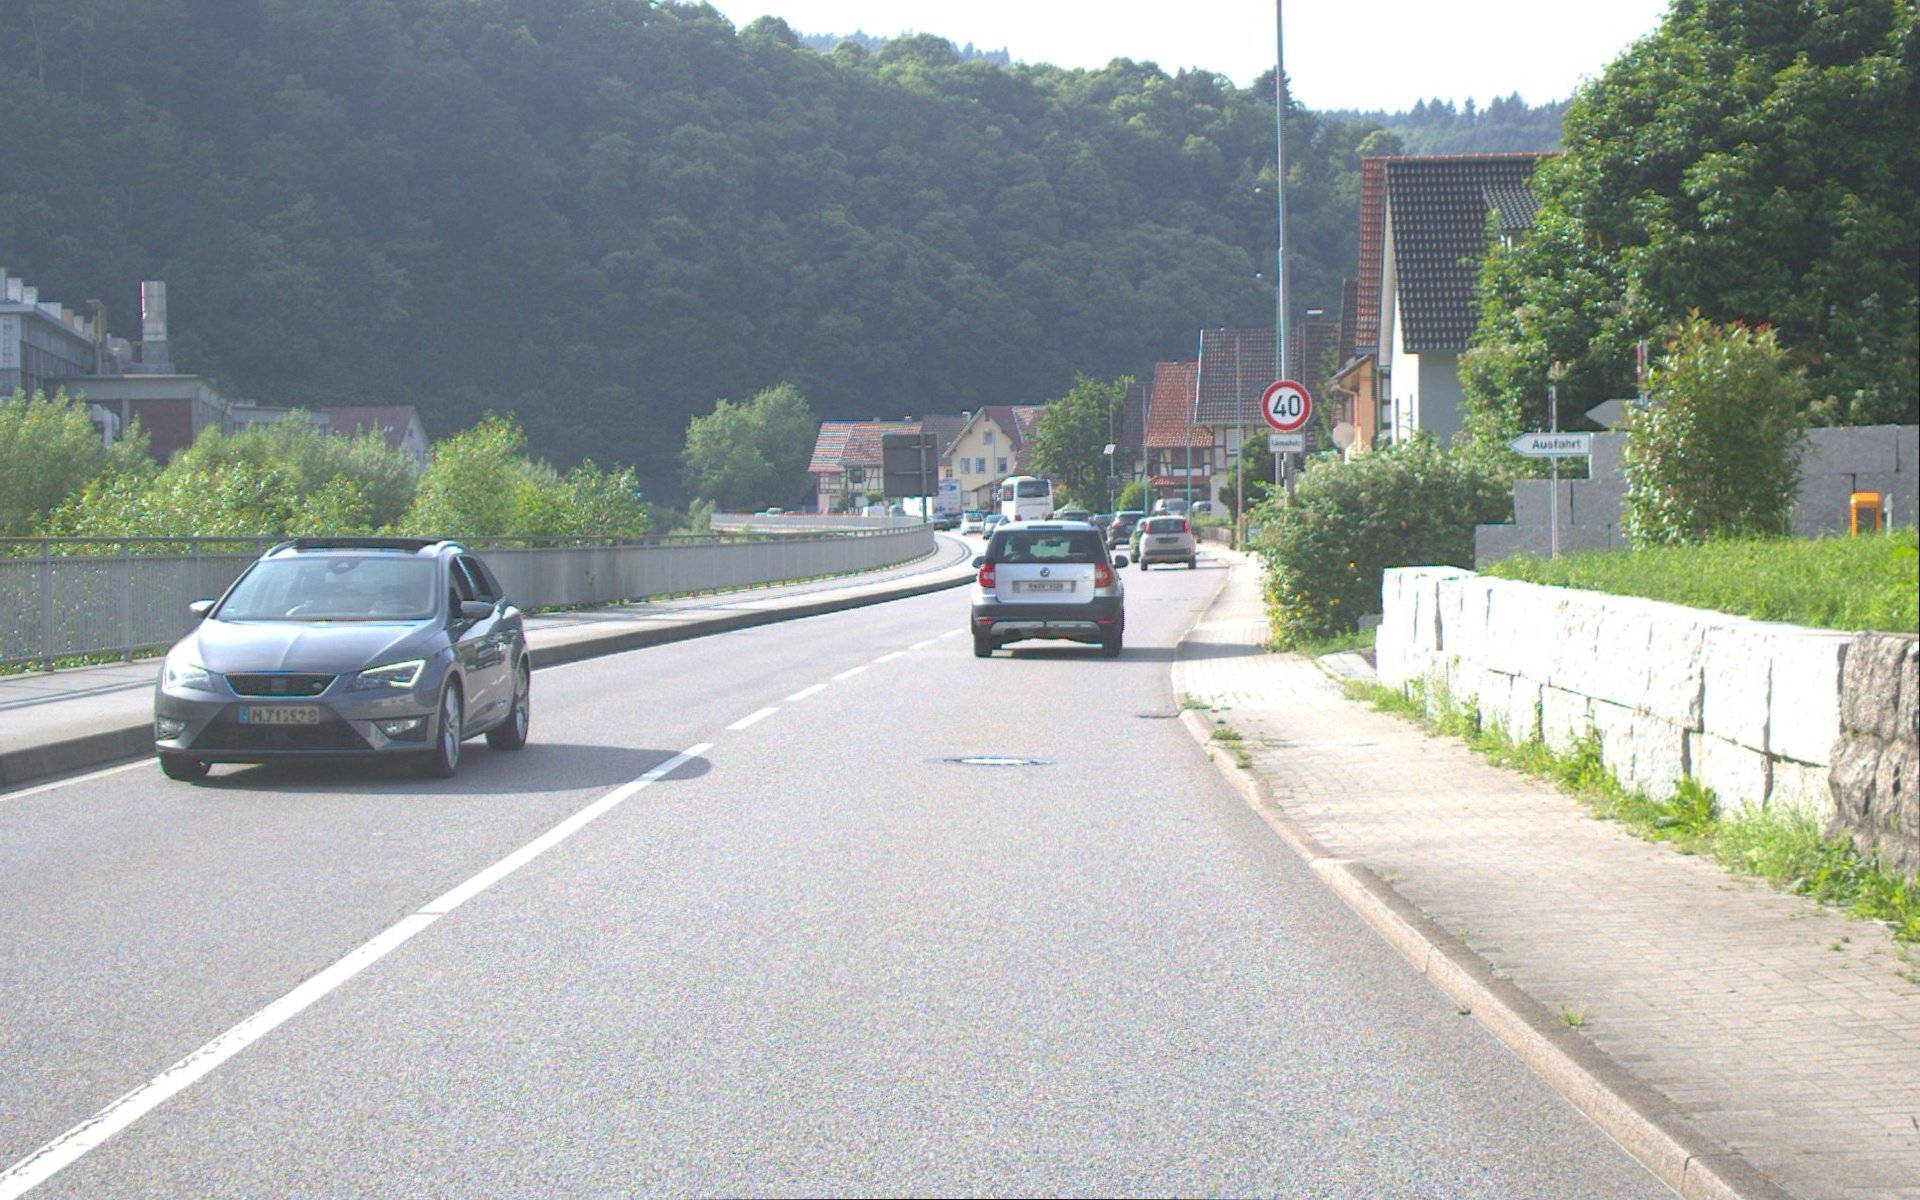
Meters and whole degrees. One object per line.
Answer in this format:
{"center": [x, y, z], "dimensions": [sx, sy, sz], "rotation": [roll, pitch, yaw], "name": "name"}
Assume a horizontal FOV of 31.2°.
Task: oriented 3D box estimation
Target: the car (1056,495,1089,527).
{"center": [6.377, -5.049, 193.995], "dimensions": [1.674, 1.746, 3.448], "rotation": [0, 2, 5], "name": "car"}

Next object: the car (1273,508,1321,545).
{"center": [11.646, -2.534, 118.589], "dimensions": [1.545, 1.212, 3.276], "rotation": [0, 0, 7], "name": "car"}

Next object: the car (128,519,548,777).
{"center": [-3.890, 0.258, 22.324], "dimensions": [1.813, 1.479, 4.798], "rotation": [-1, 0, 0], "name": "car"}

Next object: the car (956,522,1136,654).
{"center": [1.120, -0.182, 42.393], "dimensions": [1.861, 1.539, 4.372], "rotation": [0, 1, 6], "name": "car"}

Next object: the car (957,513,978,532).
{"center": [0.513, -5.227, 231.701], "dimensions": [1.364, 1.273, 3.083], "rotation": [0, 0, 1], "name": "car"}

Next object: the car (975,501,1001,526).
{"center": [1.644, -5.080, 201.523], "dimensions": [1.433, 1.379, 3.135], "rotation": [-1, 2, -1], "name": "car"}

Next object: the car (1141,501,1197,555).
{"center": [6.163, -2.109, 101.364], "dimensions": [1.622, 1.536, 3.278], "rotation": [0, 0, 4], "name": "car"}

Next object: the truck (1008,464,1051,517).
{"center": [4.522, -7.188, 224.837], "dimensions": [2.729, 3.363, 6.479], "rotation": [0, 2, 1], "name": "truck"}
